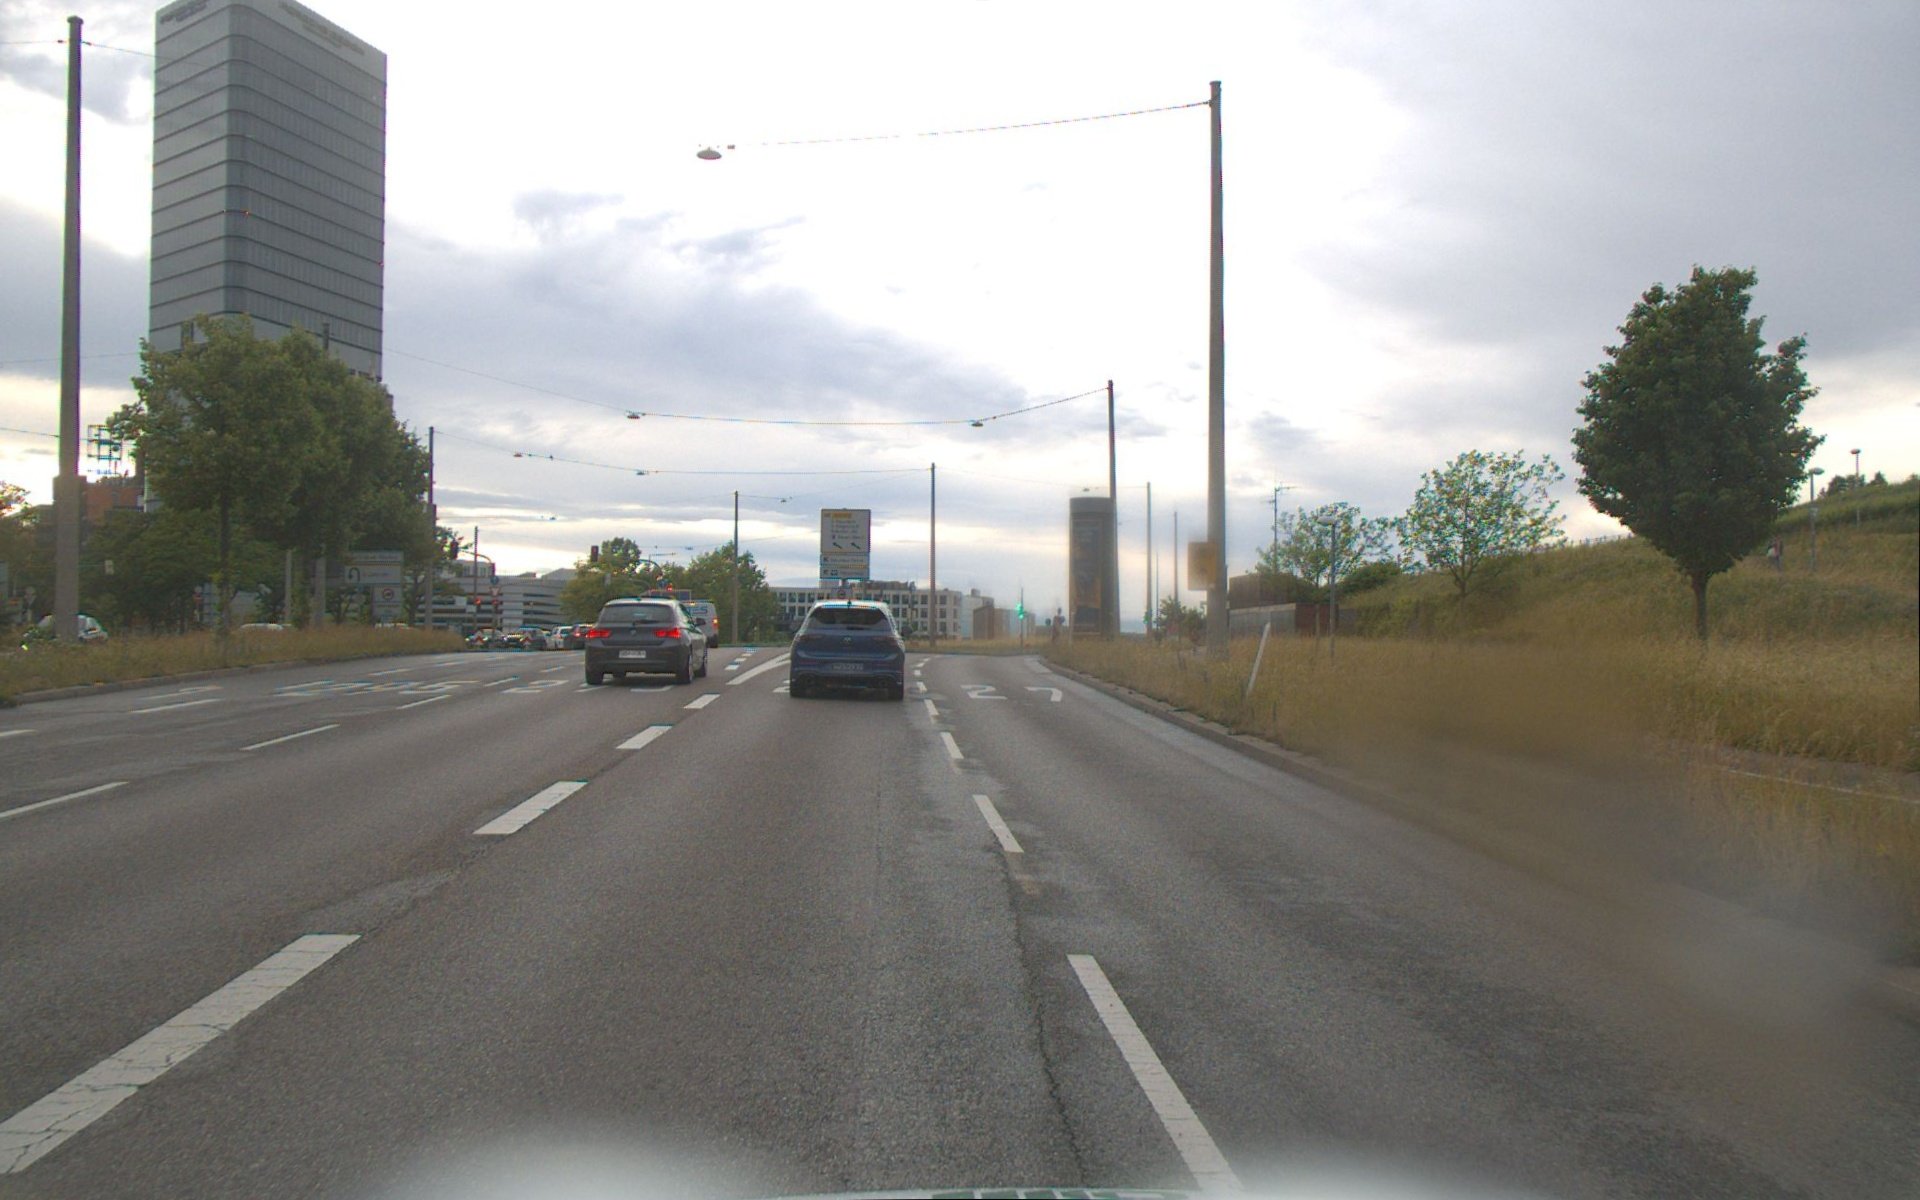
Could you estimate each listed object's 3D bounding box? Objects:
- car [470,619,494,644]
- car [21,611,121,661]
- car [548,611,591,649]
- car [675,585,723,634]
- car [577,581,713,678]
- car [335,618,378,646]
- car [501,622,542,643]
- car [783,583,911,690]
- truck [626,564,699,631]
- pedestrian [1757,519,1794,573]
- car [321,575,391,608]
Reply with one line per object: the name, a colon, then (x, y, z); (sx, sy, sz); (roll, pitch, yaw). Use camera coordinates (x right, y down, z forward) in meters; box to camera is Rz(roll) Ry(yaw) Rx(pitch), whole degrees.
car: (-36.200, 2.376, 125.304); (1.735, 1.870, 3.740); (1, 0, -16)
car: (-28.834, 1.149, 53.756); (1.564, 1.384, 3.672); (3, 1, -7)
car: (-22.967, 1.721, 97.137); (1.965, 2.048, 3.976); (-1, 1, -20)
car: (-11.184, 0.435, 70.575); (1.870, 2.007, 5.078); (0, -1, -11)
car: (-5.421, 0.457, 28.919); (1.832, 1.487, 3.974); (1, 1, -4)
car: (-41.902, 2.193, 114.910); (1.563, 1.847, 3.536); (1, 0, 2)
car: (-32.825, 2.399, 123.925); (1.890, 1.510, 4.578); (1, -1, 0)
car: (-1.706, 0.514, 26.044); (1.801, 1.417, 3.999); (3, 1, -2)
truck: (-15.663, -0.094, 86.745); (2.627, 3.276, 6.509); (2, -1, -20)
pedestrian: (31.581, -2.094, 64.075); (0.772, 2.048, 1.042); (-1, 1, -36)
car: (-31.991, -0.414, 87.763); (1.853, 1.687, 4.606); (1, 0, 2)
